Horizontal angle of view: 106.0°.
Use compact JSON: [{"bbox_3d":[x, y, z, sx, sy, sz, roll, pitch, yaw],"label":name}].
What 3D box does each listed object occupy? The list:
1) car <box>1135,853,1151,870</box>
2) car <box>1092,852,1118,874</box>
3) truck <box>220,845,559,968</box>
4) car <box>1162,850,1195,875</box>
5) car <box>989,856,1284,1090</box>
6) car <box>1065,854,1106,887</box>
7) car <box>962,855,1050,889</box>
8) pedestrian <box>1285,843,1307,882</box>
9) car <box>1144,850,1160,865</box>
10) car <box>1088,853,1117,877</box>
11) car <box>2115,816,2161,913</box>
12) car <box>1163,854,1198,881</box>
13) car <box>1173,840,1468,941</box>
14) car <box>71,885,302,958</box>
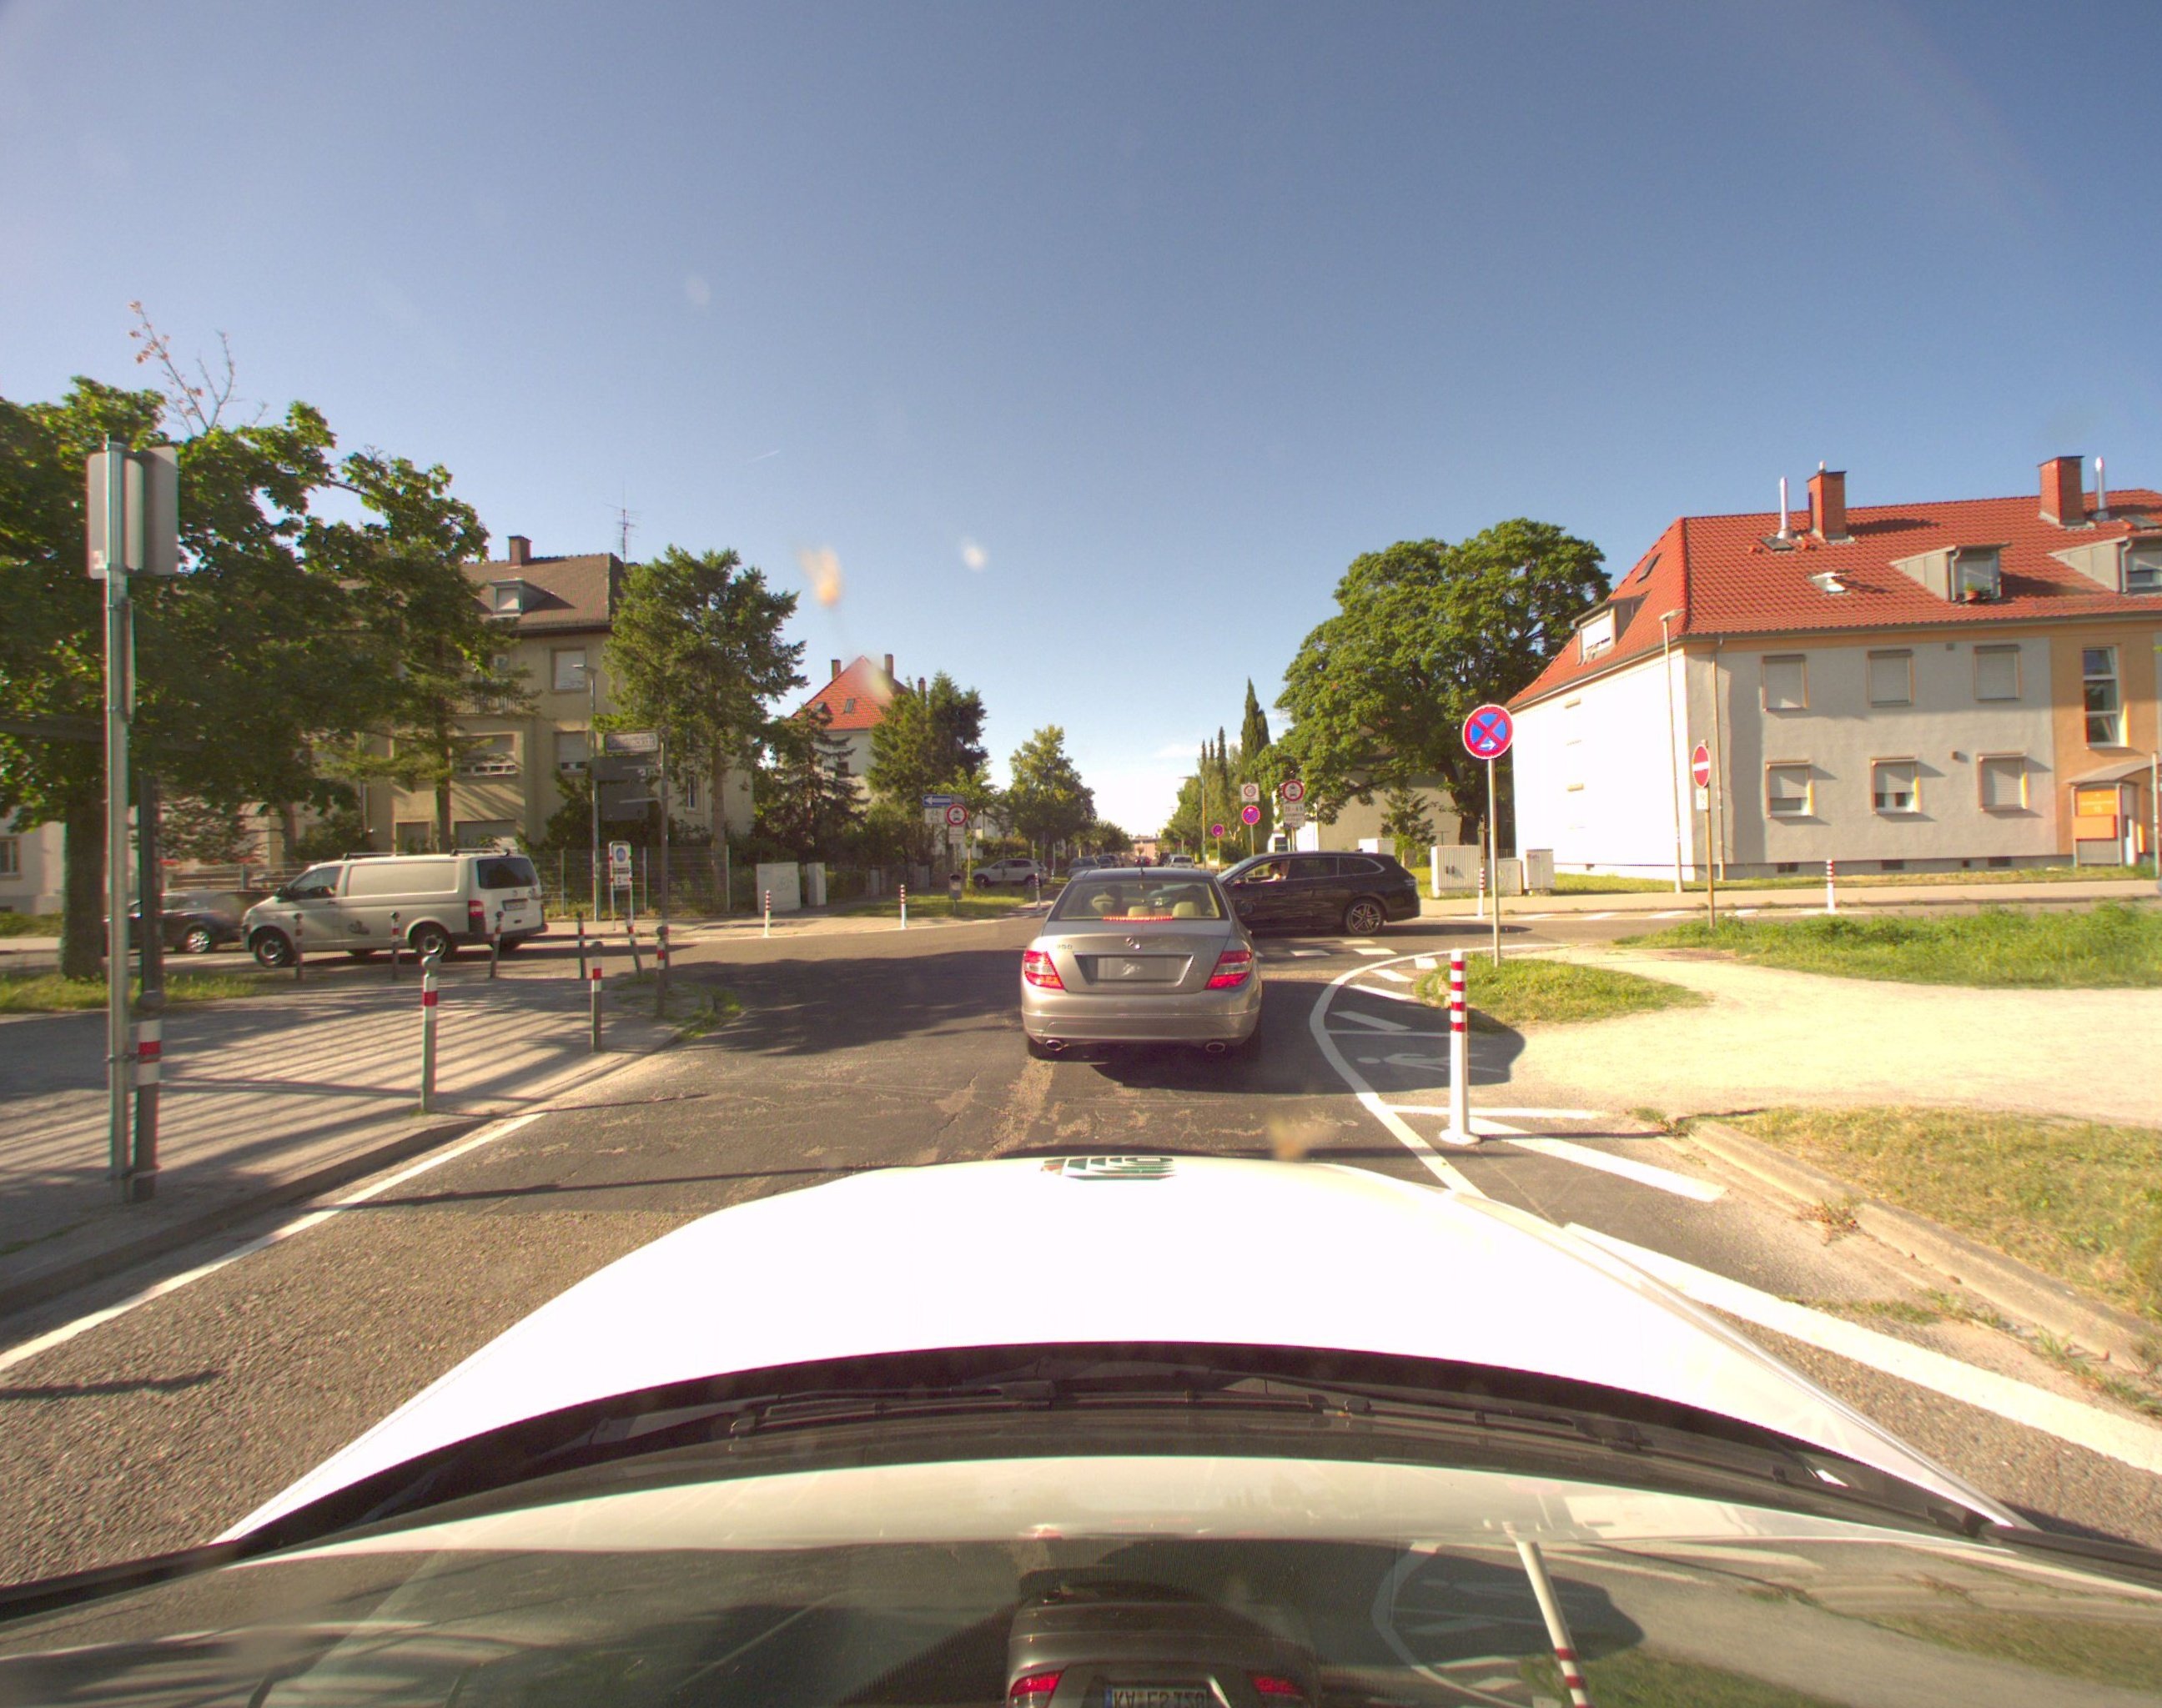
[{"bbox_3d":[6.560,0.778,86.171,1.591,1.609,3.646,-2,0,3],"label":"car"},{"bbox_3d":[2.102,0.761,69.196,1.986,1.609,4.003,-5,0,2],"label":"car"},{"bbox_3d":[-13.050,0.948,15.577,4.836,2.036,2.002,-2,0,4],"label":"truck"},{"bbox_3d":[6.944,0.589,58.299,1.985,1.609,4.003,-2,0,3],"label":"car"},{"bbox_3d":[0.536,0.761,7.120,1.827,1.441,4.006,-1,0,6],"label":"car"},{"bbox_3d":[0.283,0.867,45.633,1.986,1.609,4.003,-5,0,2],"label":"car"},{"bbox_3d":[-3.707,0.892,40.726,4.177,1.564,1.843,-1,0,1],"label":"car"},{"bbox_3d":[9.192,0.356,34.871,0.761,1.611,0.836,-2,0,9],"label":"pedestrian"},{"bbox_3d":[8.962,0.403,103.150,1.846,1.841,4.004,-2,0,4],"label":"car"},{"bbox_3d":[1.697,0.808,63.410,1.986,1.609,4.003,-5,0,2],"label":"car"},{"bbox_3d":[19.995,0.098,13.027,4.213,1.608,1.891,-2,0,5],"label":"car"},{"bbox_3d":[5.767,0.770,47.585,1.726,1.480,3.728,-2,0,3],"label":"car"},{"bbox_3d":[4.111,0.619,14.643,4.722,1.524,2.001,-2,0,2],"label":"car"},{"bbox_3d":[-21.105,1.565,19.301,3.796,1.495,1.679,-2,-1,4],"label":"car"}]
